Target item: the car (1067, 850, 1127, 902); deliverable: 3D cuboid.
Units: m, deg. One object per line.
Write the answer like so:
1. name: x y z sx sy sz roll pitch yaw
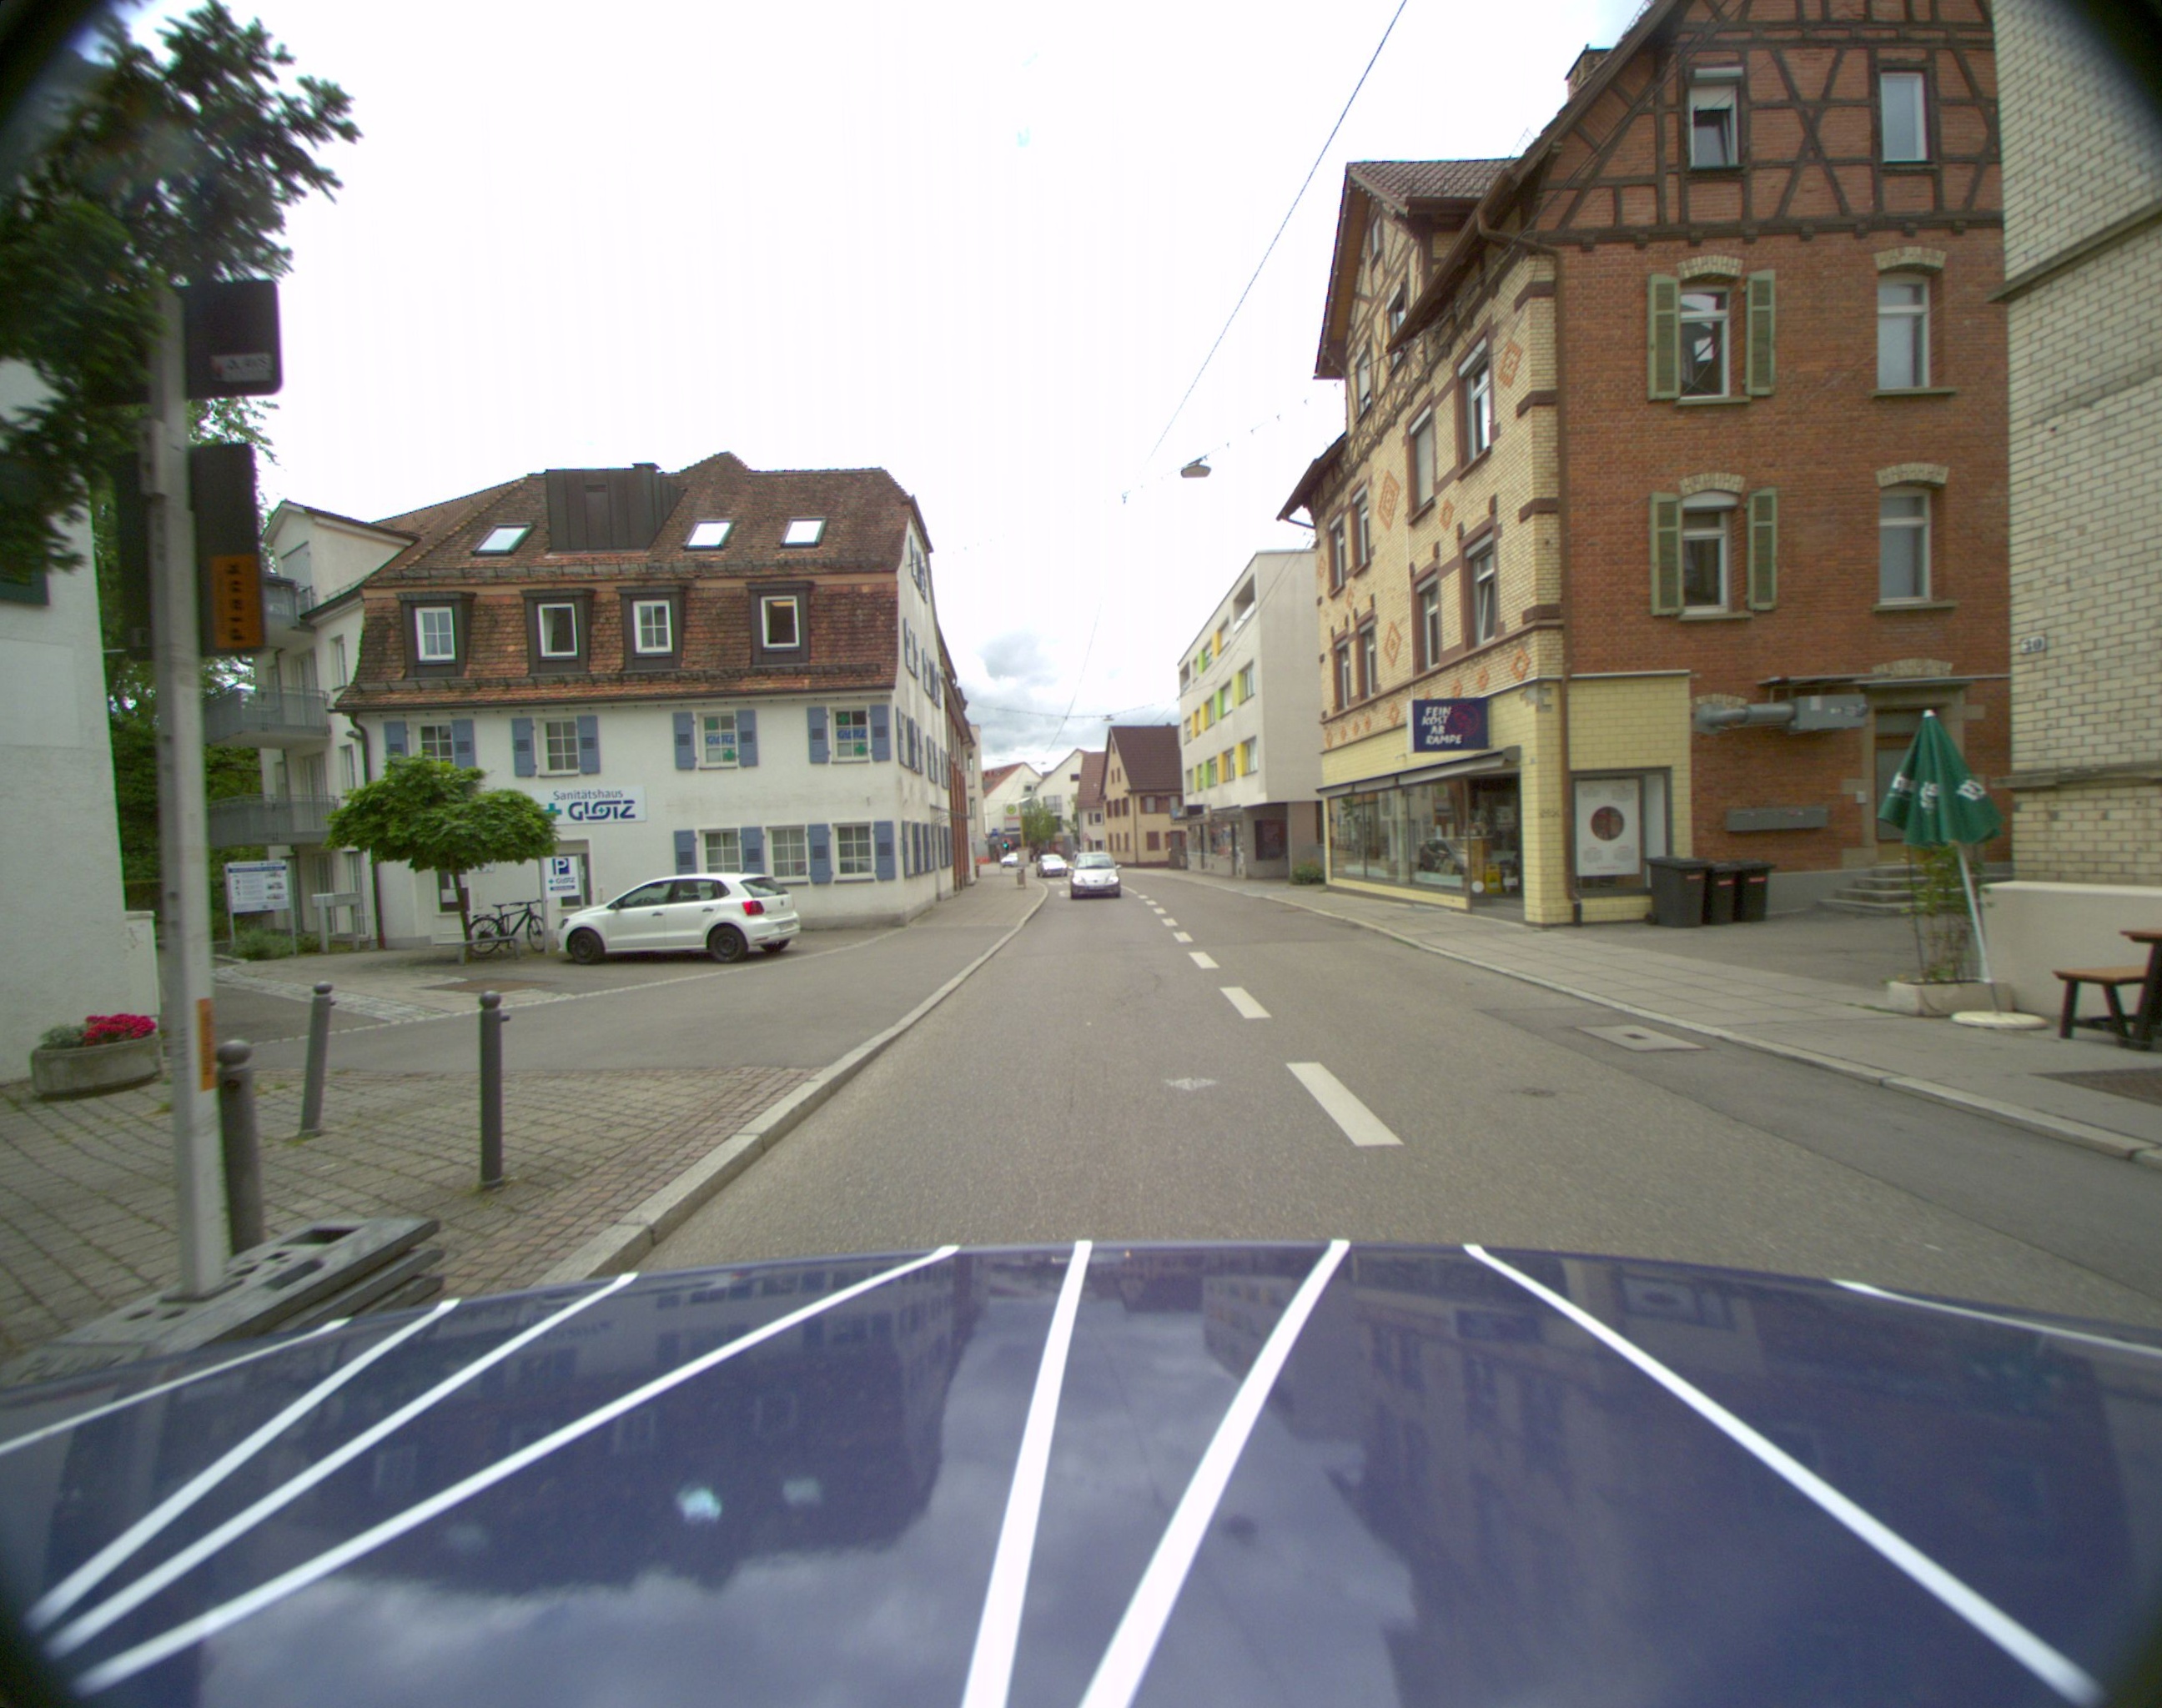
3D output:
1. car: 0.500 0.700 26.560 1.895 1.618 3.999 -2 0 0

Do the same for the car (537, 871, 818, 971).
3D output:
1. car: -6.828 1.107 13.118 3.800 1.410 1.898 -2 1 6

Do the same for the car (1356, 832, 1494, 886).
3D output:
1. car: 12.223 0.166 27.201 4.007 1.652 1.886 -3 1 1

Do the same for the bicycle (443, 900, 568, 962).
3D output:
1. bicycle: -10.846 1.450 14.353 1.915 1.055 0.616 -2 0 4

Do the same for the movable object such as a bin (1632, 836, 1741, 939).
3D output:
1. movable object such as a bin: 8.999 0.472 11.322 0.944 1.371 0.823 -5 4 1

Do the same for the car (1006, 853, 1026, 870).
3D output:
1. car: -7.073 0.815 82.141 2.001 1.618 3.997 -4 2 -5

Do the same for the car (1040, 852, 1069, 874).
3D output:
1. car: -1.821 0.569 51.383 1.756 1.347 3.998 -3 1 -4
